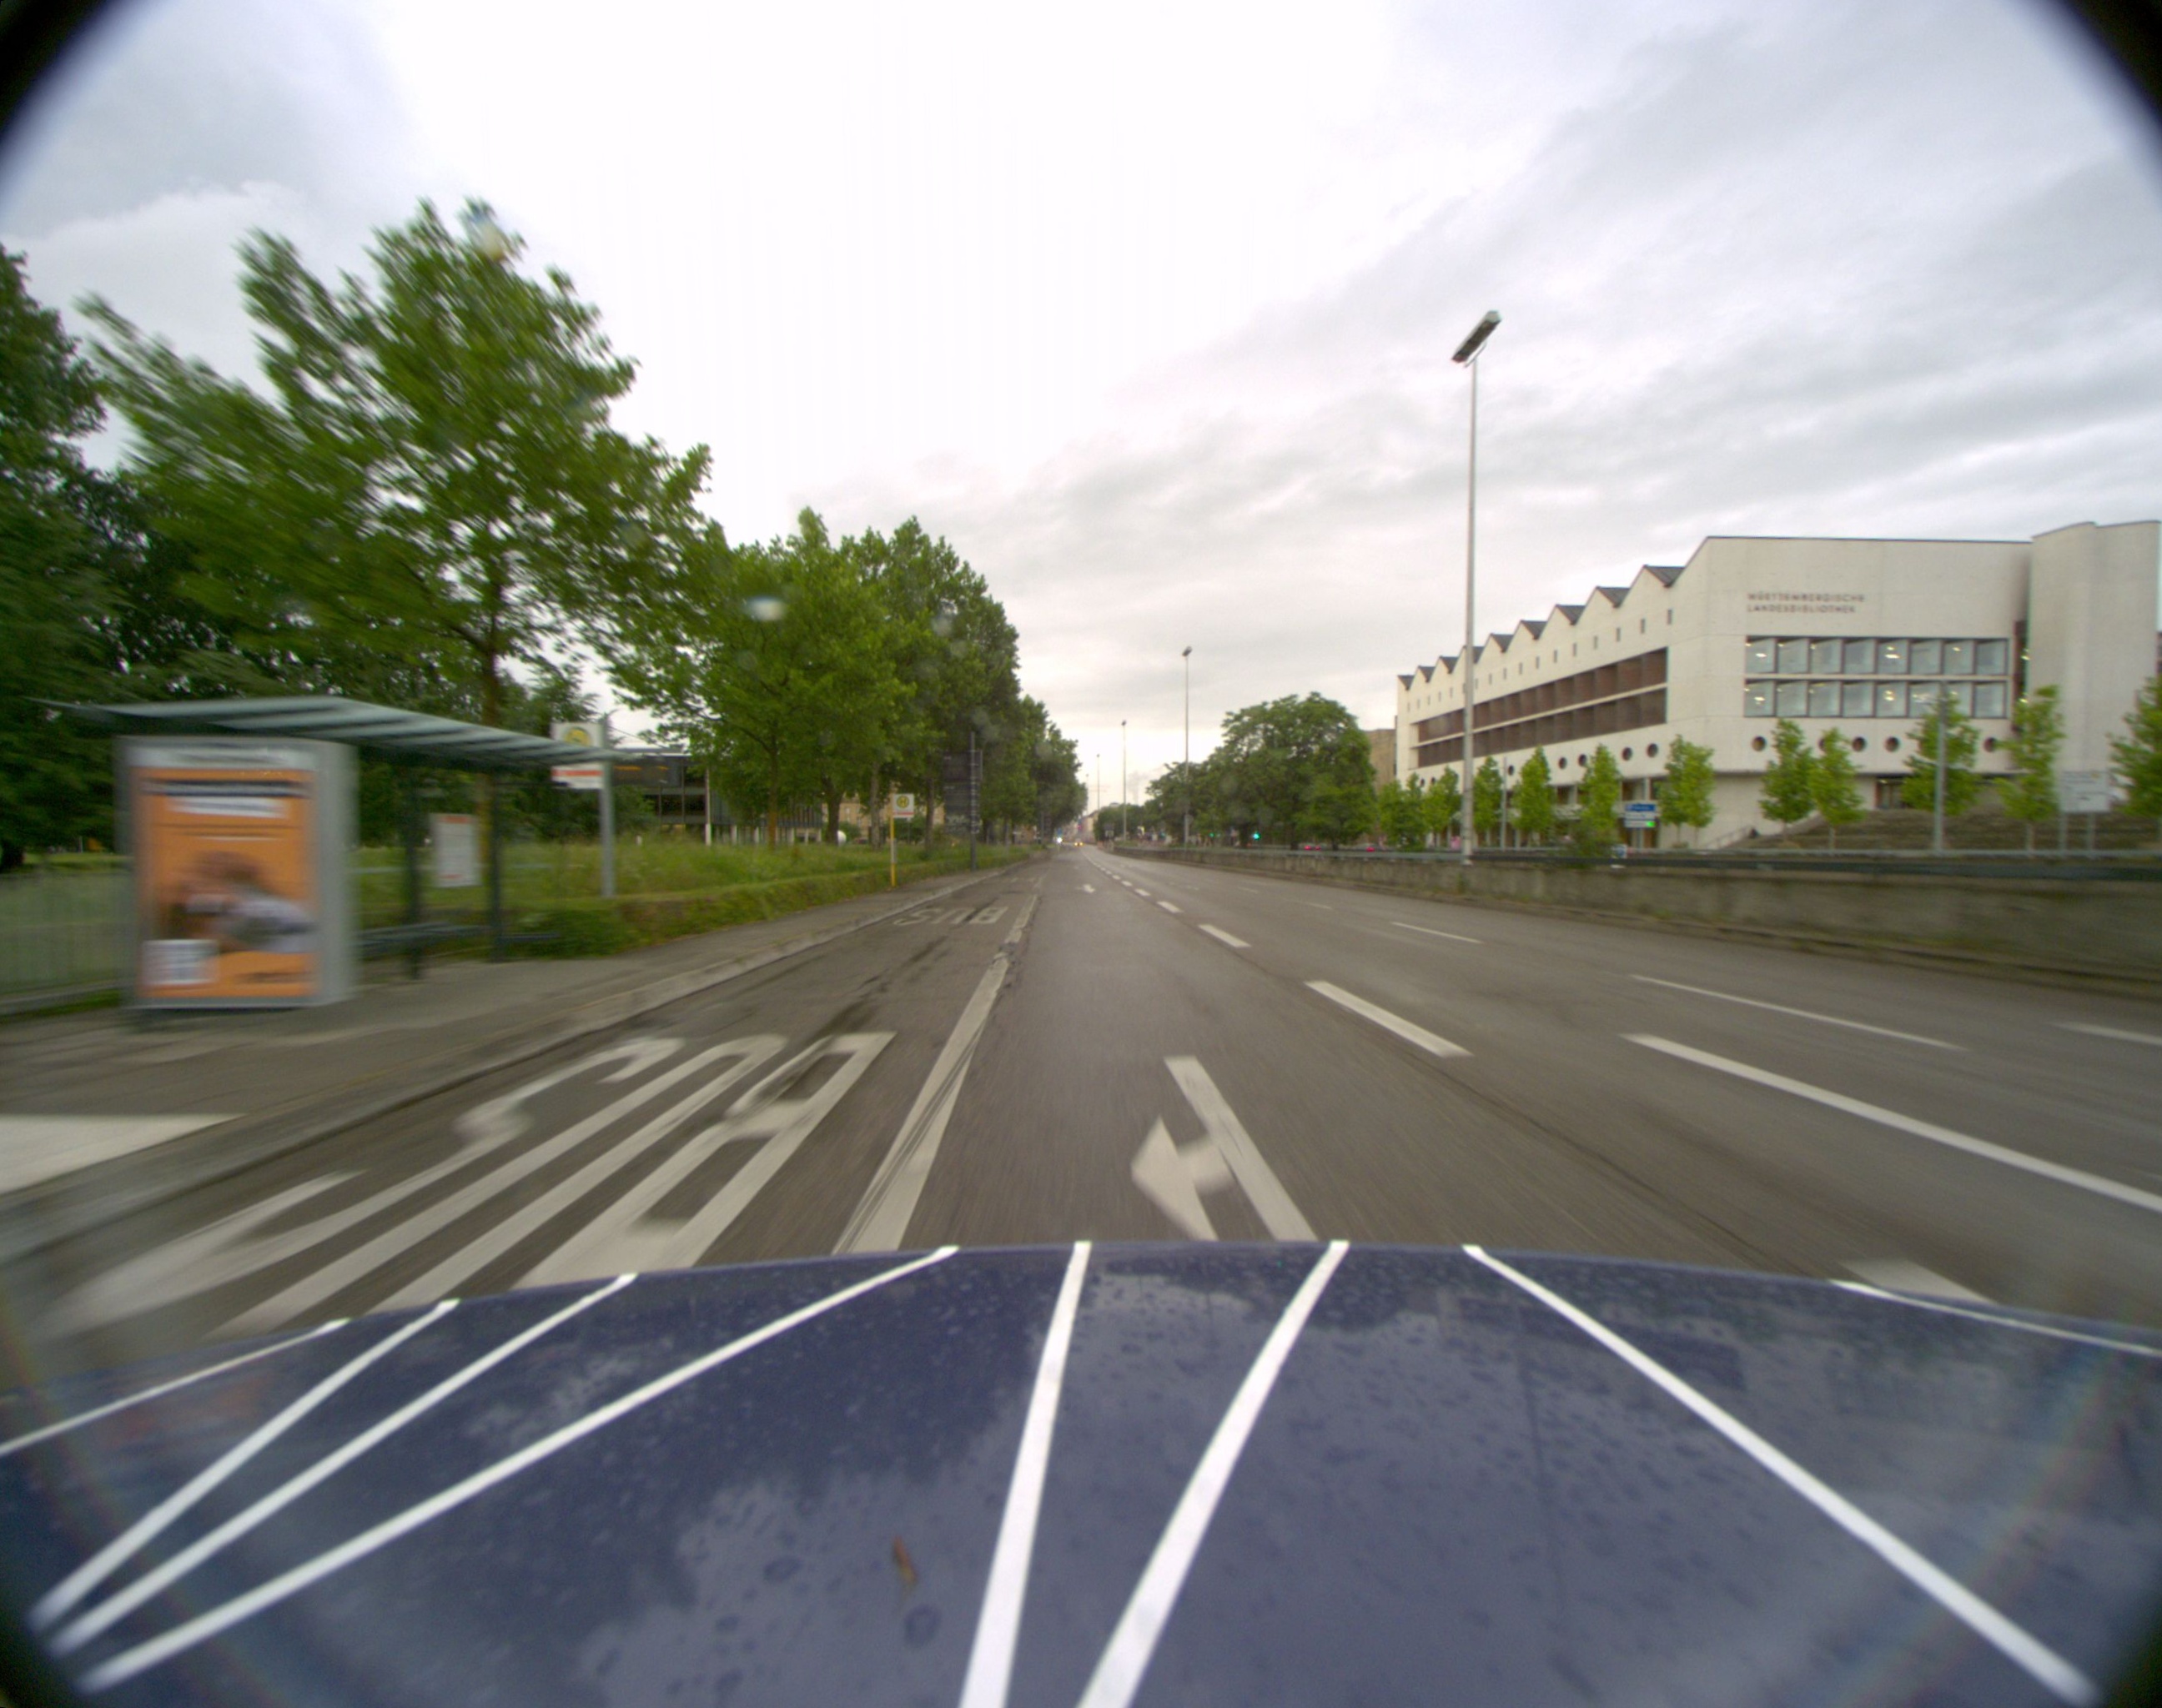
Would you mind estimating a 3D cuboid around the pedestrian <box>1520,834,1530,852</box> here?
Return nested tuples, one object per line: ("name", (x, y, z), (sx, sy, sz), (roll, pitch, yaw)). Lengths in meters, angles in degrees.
("pedestrian", (45.378, -1.129, 77.609), (0.738, 1.848, 0.703), (0, 3, 40))

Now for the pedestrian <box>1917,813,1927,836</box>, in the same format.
("pedestrian", (57.692, -2.015, 52.137), (0.311, 1.564, 0.315), (-1, 2, 16))

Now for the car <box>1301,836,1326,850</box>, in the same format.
("car", (28.427, -1.371, 92.838), (1.699, 1.547, 3.473), (-2, 2, -5))

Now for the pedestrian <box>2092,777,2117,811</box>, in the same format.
("pedestrian", (61.450, -3.603, 45.625), (0.606, 2.002, 0.639), (-2, 2, -1))

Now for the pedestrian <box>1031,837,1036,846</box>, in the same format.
("pedestrian", (-8.939, -2.367, 143.805), (0.596, 1.764, 0.585), (-4, 3, -40))

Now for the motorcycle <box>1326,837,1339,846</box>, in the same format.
("motorcycle", (36.165, -1.803, 109.239), (1.817, 1.176, 0.606), (-2, 2, -15))

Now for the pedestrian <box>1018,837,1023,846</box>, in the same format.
("pedestrian", (-11.262, -2.397, 141.228), (0.671, 1.656, 0.587), (0, 2, -18))

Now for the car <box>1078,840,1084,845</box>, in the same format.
("car", (0.022, -3.146, 202.651), (1.517, 1.138, 2.760), (-2, 2, 1))

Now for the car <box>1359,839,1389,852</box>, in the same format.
("car", (29.257, -0.833, 75.832), (1.569, 1.220, 3.540), (-2, 2, -1))

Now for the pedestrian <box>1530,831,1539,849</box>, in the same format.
("pedestrian", (45.987, -1.411, 77.042), (0.738, 1.848, 0.703), (0, 3, 40))

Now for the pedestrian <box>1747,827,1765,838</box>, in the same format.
("pedestrian", (51.688, -1.645, 58.153), (0.809, 0.882, 0.628), (-2, 2, -1))
